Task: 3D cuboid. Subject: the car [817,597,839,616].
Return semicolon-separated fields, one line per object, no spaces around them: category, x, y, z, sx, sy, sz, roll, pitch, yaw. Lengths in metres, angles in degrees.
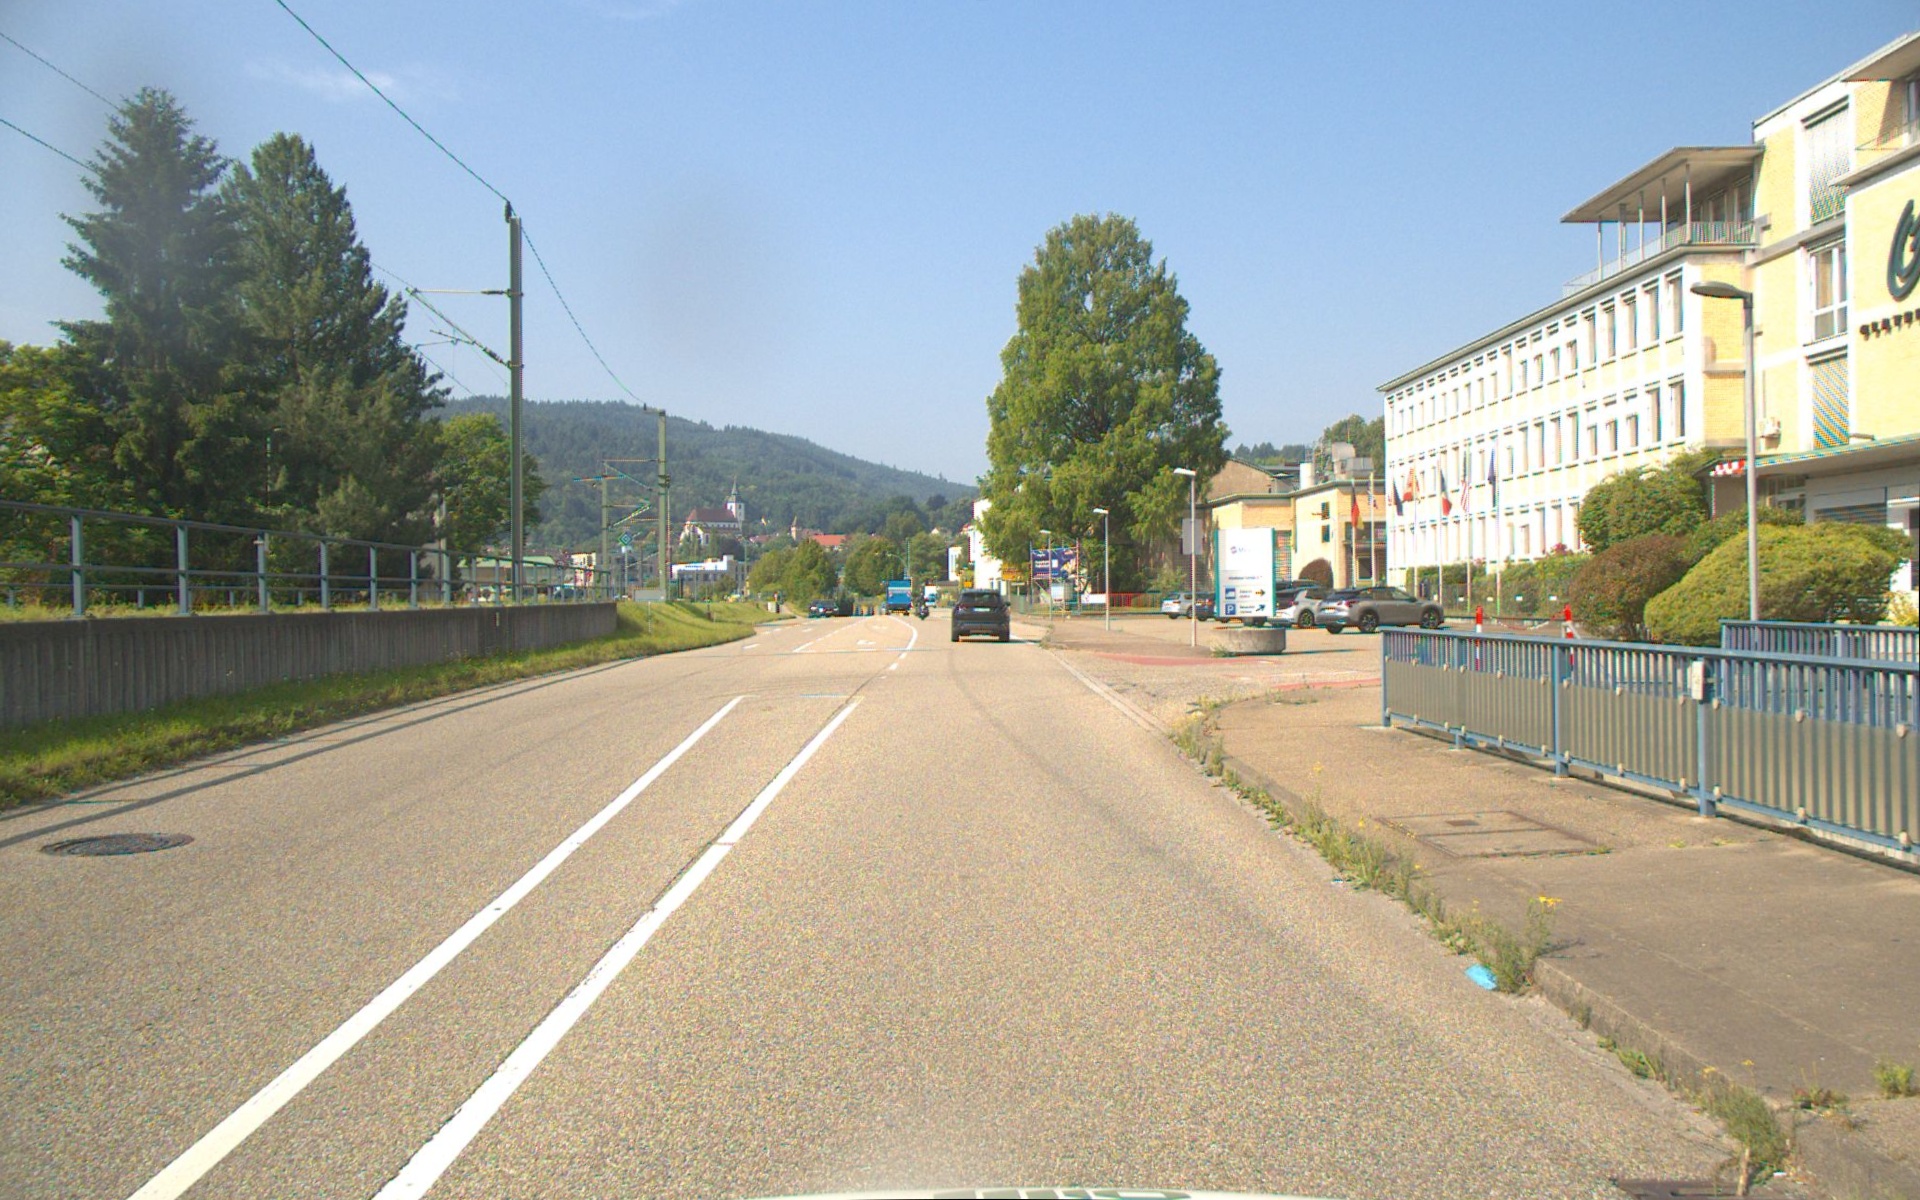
car;-10.857;0.531;136.059;1.720;1.454;3.997;-1;0;-4

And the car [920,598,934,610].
car;-4.401;0.566;221.225;1.731;1.512;3.999;0;-1;0

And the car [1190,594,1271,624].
car;13.680;0.436;83.611;3.949;1.425;1.645;-1;0;-33

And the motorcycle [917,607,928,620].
motorcycle;-2.186;0.803;96.761;0.594;0.766;1.414;-1;0;-2

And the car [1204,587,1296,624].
car;13.756;0.258;78.370;4.117;1.701;1.850;-1;0;-31

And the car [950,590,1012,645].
car;0.668;0.548;53.055;1.880;1.668;4.000;-1;0;0

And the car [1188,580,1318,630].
car;11.561;0.177;65.132;4.968;1.864;1.963;-1;0;-30

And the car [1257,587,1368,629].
car;13.501;0.303;63.329;3.945;1.531;1.867;-1;0;-30

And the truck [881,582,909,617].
truck;-5.825;-0.055;148.091;2.267;3.022;5.961;-1;0;-4

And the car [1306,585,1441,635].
car;13.704;0.325;54.789;4.252;1.531;1.867;-1;0;-30

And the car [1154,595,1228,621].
car;12.858;0.442;91.969;3.949;1.425;1.645;-1;0;-33

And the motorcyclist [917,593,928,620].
motorcyclist;-2.211;0.360;96.761;0.594;1.547;0.863;-1;0;-2
